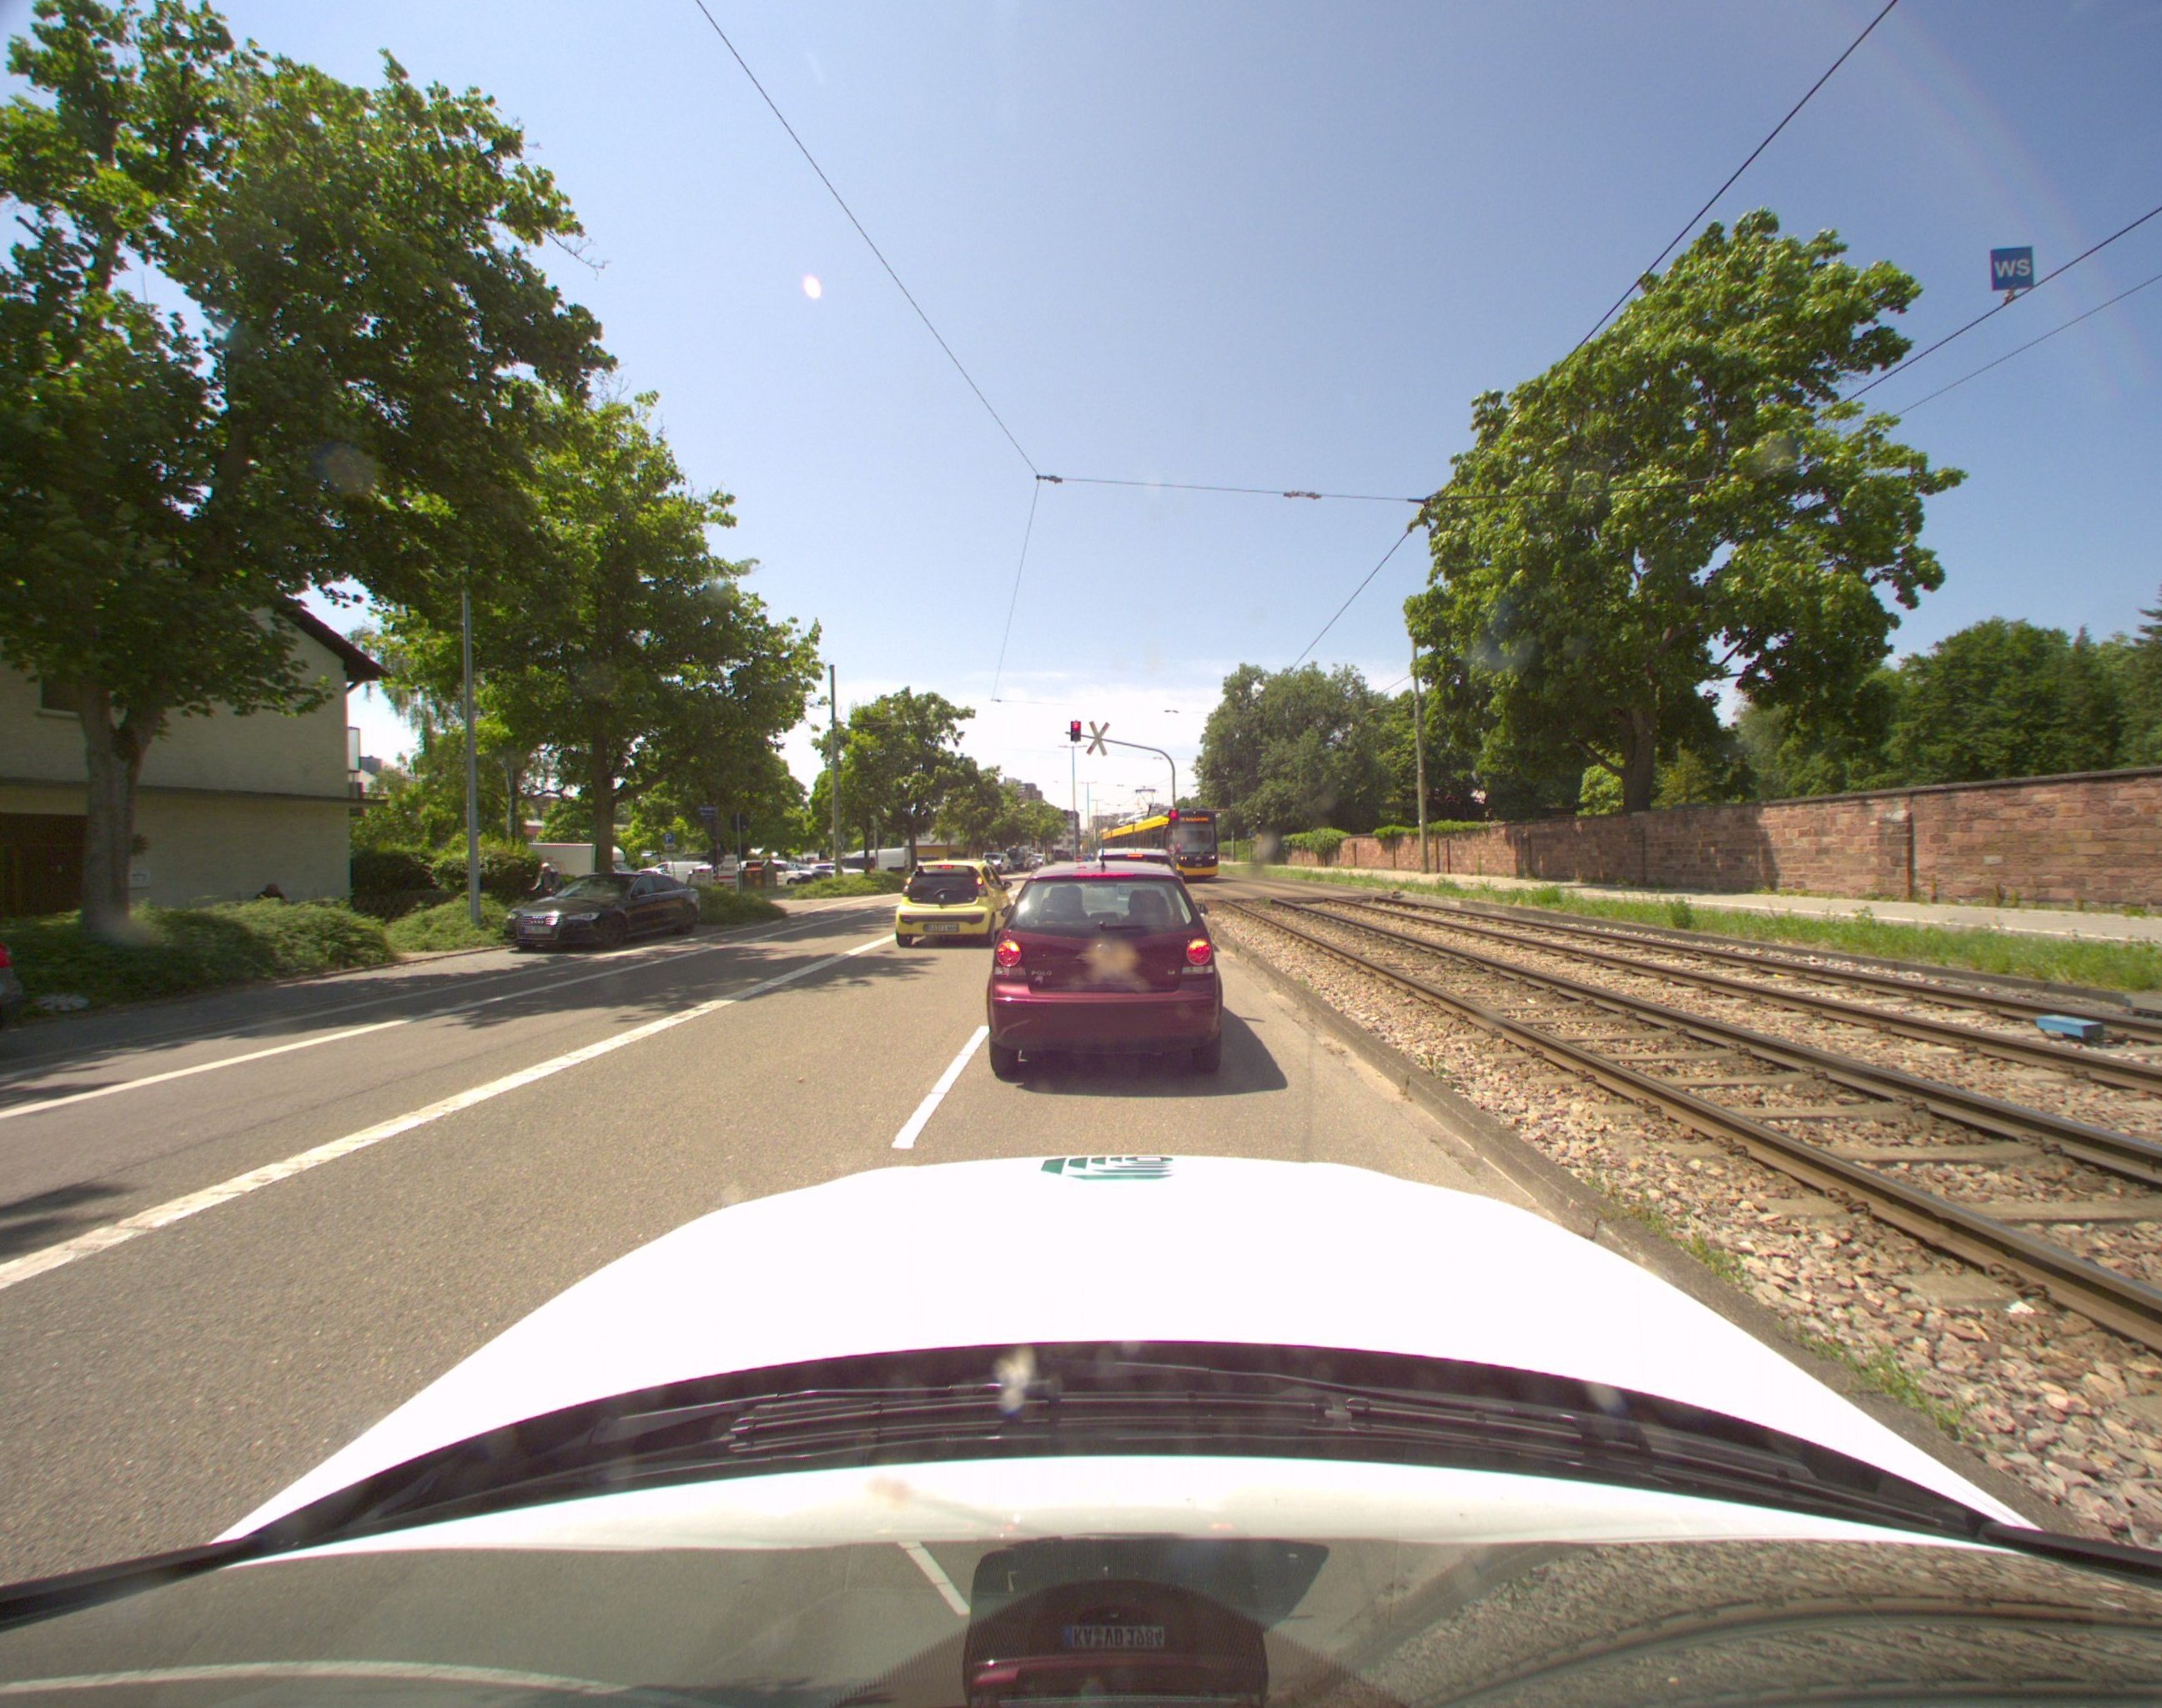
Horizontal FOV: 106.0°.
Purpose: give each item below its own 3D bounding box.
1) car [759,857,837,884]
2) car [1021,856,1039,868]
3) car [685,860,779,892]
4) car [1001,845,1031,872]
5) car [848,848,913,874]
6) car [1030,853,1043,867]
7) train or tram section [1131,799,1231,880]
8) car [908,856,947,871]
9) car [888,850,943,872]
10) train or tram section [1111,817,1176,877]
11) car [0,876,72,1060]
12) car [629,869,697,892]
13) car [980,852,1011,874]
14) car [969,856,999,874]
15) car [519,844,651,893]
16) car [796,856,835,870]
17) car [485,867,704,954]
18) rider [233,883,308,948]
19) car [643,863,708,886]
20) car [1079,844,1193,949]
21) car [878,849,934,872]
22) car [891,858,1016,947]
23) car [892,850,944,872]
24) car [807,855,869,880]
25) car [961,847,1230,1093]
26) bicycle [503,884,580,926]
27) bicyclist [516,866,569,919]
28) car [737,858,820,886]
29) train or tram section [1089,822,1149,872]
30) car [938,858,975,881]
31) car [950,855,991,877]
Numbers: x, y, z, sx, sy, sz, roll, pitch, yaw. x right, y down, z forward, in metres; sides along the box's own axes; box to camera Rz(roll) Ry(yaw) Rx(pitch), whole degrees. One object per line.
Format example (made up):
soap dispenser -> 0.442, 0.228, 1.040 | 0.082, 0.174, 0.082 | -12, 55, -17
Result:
car -> -18.418, 1.090, 53.066 | 4.319, 1.585, 1.917 | -2, 0, 8
car -> -6.396, 1.051, 101.785 | 1.606, 1.441, 4.006 | 0, -1, 5
car -> -19.356, 1.189, 45.272 | 4.329, 1.585, 1.912 | -2, 0, -1
car -> -6.703, 0.457, 84.576 | 2.352, 2.692, 5.311 | 1, -1, 3
car -> -17.562, 0.600, 71.548 | 5.076, 2.244, 2.380 | 1, -1, 3
car -> -5.888, 0.815, 107.853 | 1.771, 1.828, 3.995 | 1, -1, -3
train or tram section -> 4.862, -0.661, 42.812 | 2.736, 3.609, 12.850 | 1, 0, -4
car -> -17.410, 1.046, 92.344 | 4.004, 1.617, 1.818 | 1, -1, 3
car -> -17.314, 0.730, 85.336 | 5.076, 2.244, 2.380 | 1, -1, 3
train or tram section -> 3.968, -0.439, 54.282 | 2.735, 3.609, 10.934 | 1, 0, -4
car -> -10.258, 0.990, 5.418 | 1.812, 1.564, 4.182 | 0, 0, 1
car -> -30.425, 1.925, 59.336 | 3.982, 1.653, 1.812 | 1, -1, -7
car -> -7.455, 0.782, 71.539 | 1.774, 1.881, 4.791 | 0, -1, 5
car -> -7.859, 0.877, 66.353 | 1.606, 1.441, 4.006 | 0, -1, 5
car -> -31.448, 0.917, 51.811 | 6.828, 2.965, 2.364 | 1, -1, 0
car -> -31.582, 1.032, 96.928 | 4.006, 1.617, 1.816 | 1, -1, 0
car -> -9.865, 1.060, 17.015 | 1.812, 1.476, 4.450 | 0, 0, 1
rider -> -17.972, 1.354, 18.075 | 0.820, 1.374, 0.814 | -2, 0, 10
car -> -30.687, 1.527, 61.733 | 3.982, 1.653, 1.812 | 1, -1, -7
car -> 0.904, 0.661, 14.749 | 1.770, 1.647, 4.001 | 0, 0, 1
car -> -17.738, 0.697, 82.874 | 5.076, 2.244, 2.380 | 1, -1, 3
car -> -2.210, 0.803, 14.994 | 1.684, 1.411, 3.516 | 0, 0, 1
car -> -17.579, 0.759, 87.987 | 5.076, 2.244, 2.380 | 1, -1, 3
car -> -18.185, 1.011, 61.099 | 3.973, 1.746, 1.998 | -2, 0, 0
car -> 0.131, 0.716, 7.056 | 1.666, 1.521, 4.001 | 0, 0, 1
bicycle -> -14.457, 1.358, 21.885 | 0.697, 1.030, 1.831 | 0, -1, 5
bicyclist -> -14.435, 1.010, 21.845 | 0.805, 1.374, 0.829 | 0, -1, 5
car -> -18.630, 1.100, 50.273 | 4.319, 1.585, 1.917 | -2, 0, 7
train or tram section -> 2.841, -0.508, 64.789 | 2.739, 3.609, 10.919 | 1, 0, -8
car -> -8.334, 1.020, 54.757 | 1.655, 1.497, 4.004 | 1, -1, 4
car -> -8.227, 0.892, 61.310 | 1.965, 1.601, 4.566 | 0, -1, 6
